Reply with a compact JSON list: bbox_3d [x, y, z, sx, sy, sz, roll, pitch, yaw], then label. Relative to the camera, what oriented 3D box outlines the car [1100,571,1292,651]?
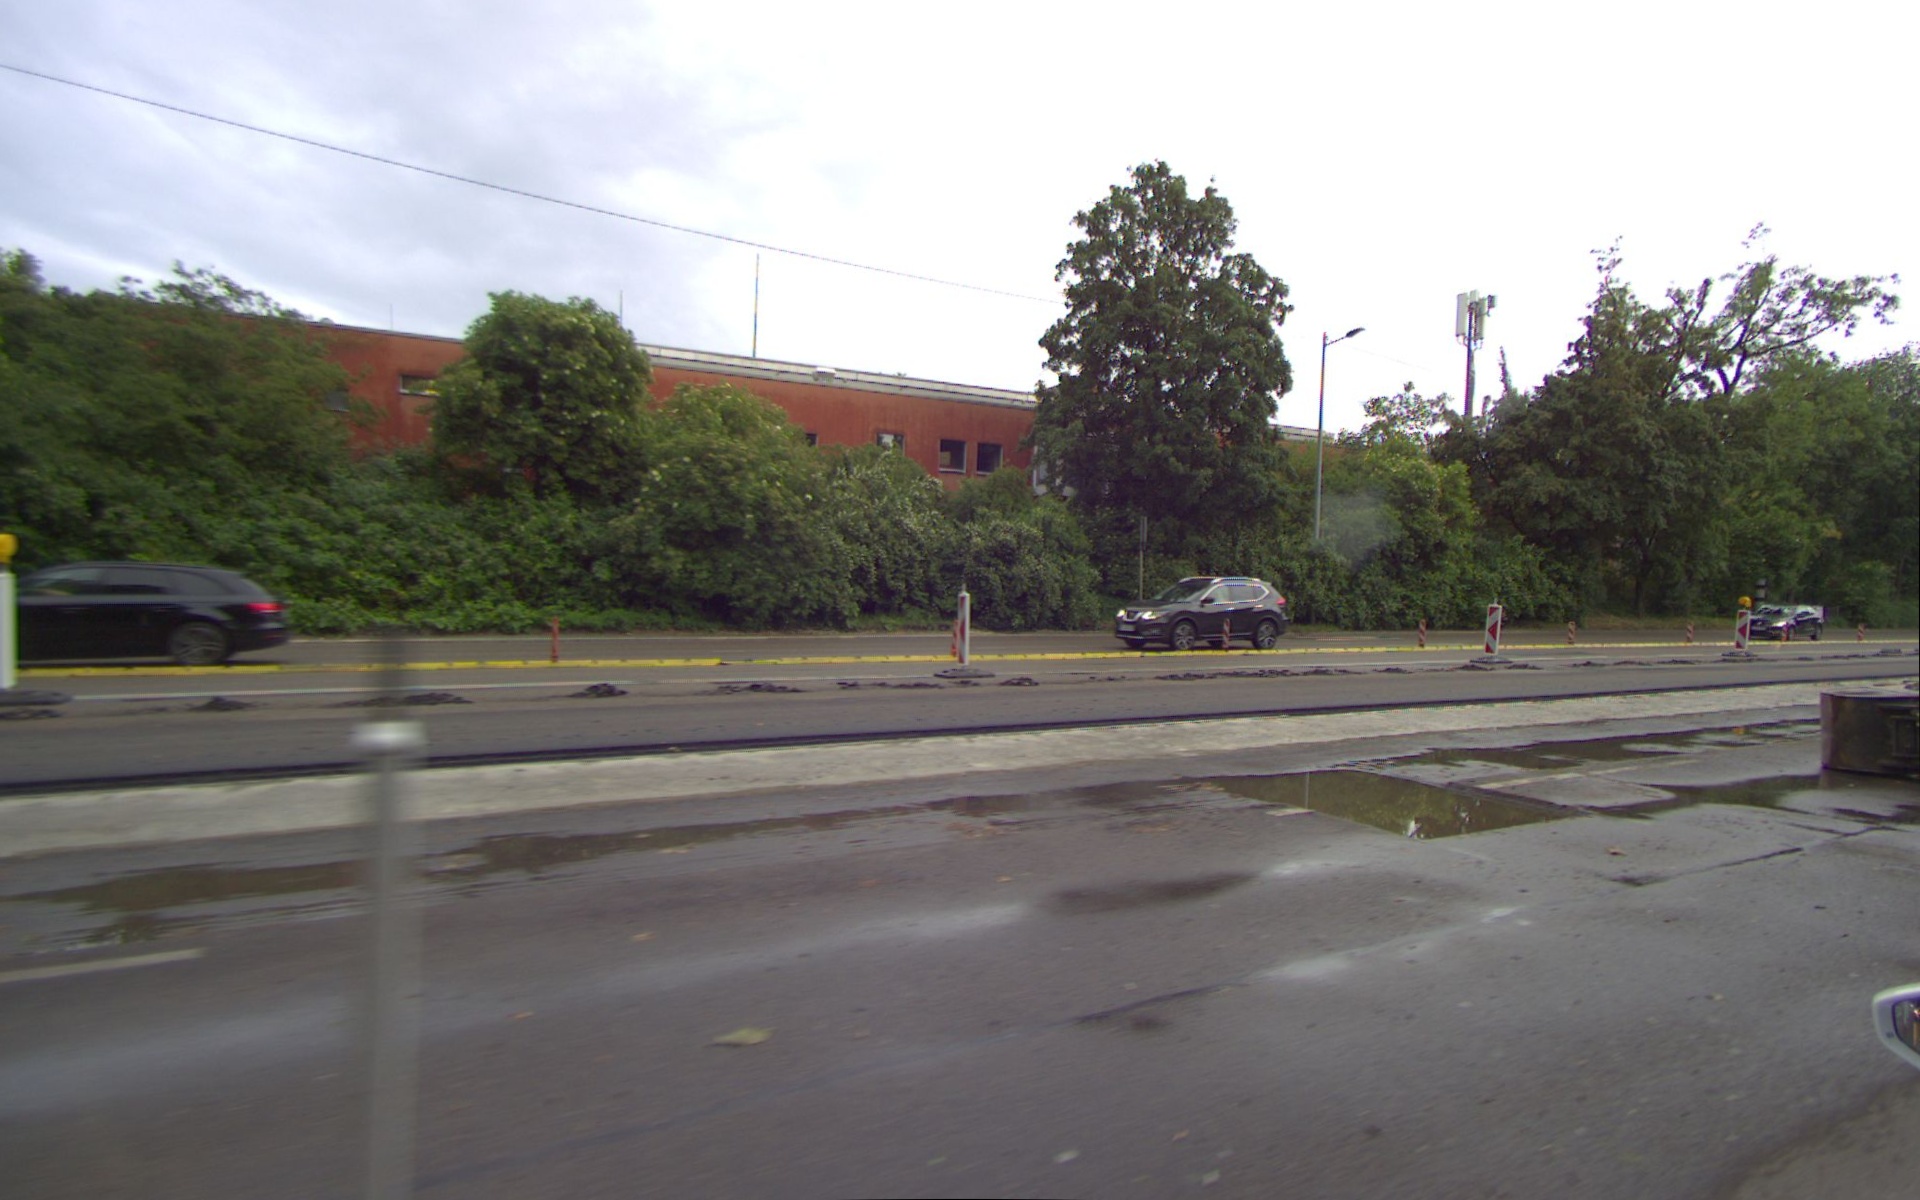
[{"bbox_3d":[5.613,0.264,23.741,4.441,1.745,1.726,1,1,-31],"label":"car"}]

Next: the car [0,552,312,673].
[{"bbox_3d":[-11.788,0.149,13.703,4.844,1.503,1.751,1,1,-31],"label":"car"}]

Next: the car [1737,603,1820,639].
[{"bbox_3d":[33.083,0.830,40.584,3.819,1.350,1.439,1,1,-33],"label":"car"}]
